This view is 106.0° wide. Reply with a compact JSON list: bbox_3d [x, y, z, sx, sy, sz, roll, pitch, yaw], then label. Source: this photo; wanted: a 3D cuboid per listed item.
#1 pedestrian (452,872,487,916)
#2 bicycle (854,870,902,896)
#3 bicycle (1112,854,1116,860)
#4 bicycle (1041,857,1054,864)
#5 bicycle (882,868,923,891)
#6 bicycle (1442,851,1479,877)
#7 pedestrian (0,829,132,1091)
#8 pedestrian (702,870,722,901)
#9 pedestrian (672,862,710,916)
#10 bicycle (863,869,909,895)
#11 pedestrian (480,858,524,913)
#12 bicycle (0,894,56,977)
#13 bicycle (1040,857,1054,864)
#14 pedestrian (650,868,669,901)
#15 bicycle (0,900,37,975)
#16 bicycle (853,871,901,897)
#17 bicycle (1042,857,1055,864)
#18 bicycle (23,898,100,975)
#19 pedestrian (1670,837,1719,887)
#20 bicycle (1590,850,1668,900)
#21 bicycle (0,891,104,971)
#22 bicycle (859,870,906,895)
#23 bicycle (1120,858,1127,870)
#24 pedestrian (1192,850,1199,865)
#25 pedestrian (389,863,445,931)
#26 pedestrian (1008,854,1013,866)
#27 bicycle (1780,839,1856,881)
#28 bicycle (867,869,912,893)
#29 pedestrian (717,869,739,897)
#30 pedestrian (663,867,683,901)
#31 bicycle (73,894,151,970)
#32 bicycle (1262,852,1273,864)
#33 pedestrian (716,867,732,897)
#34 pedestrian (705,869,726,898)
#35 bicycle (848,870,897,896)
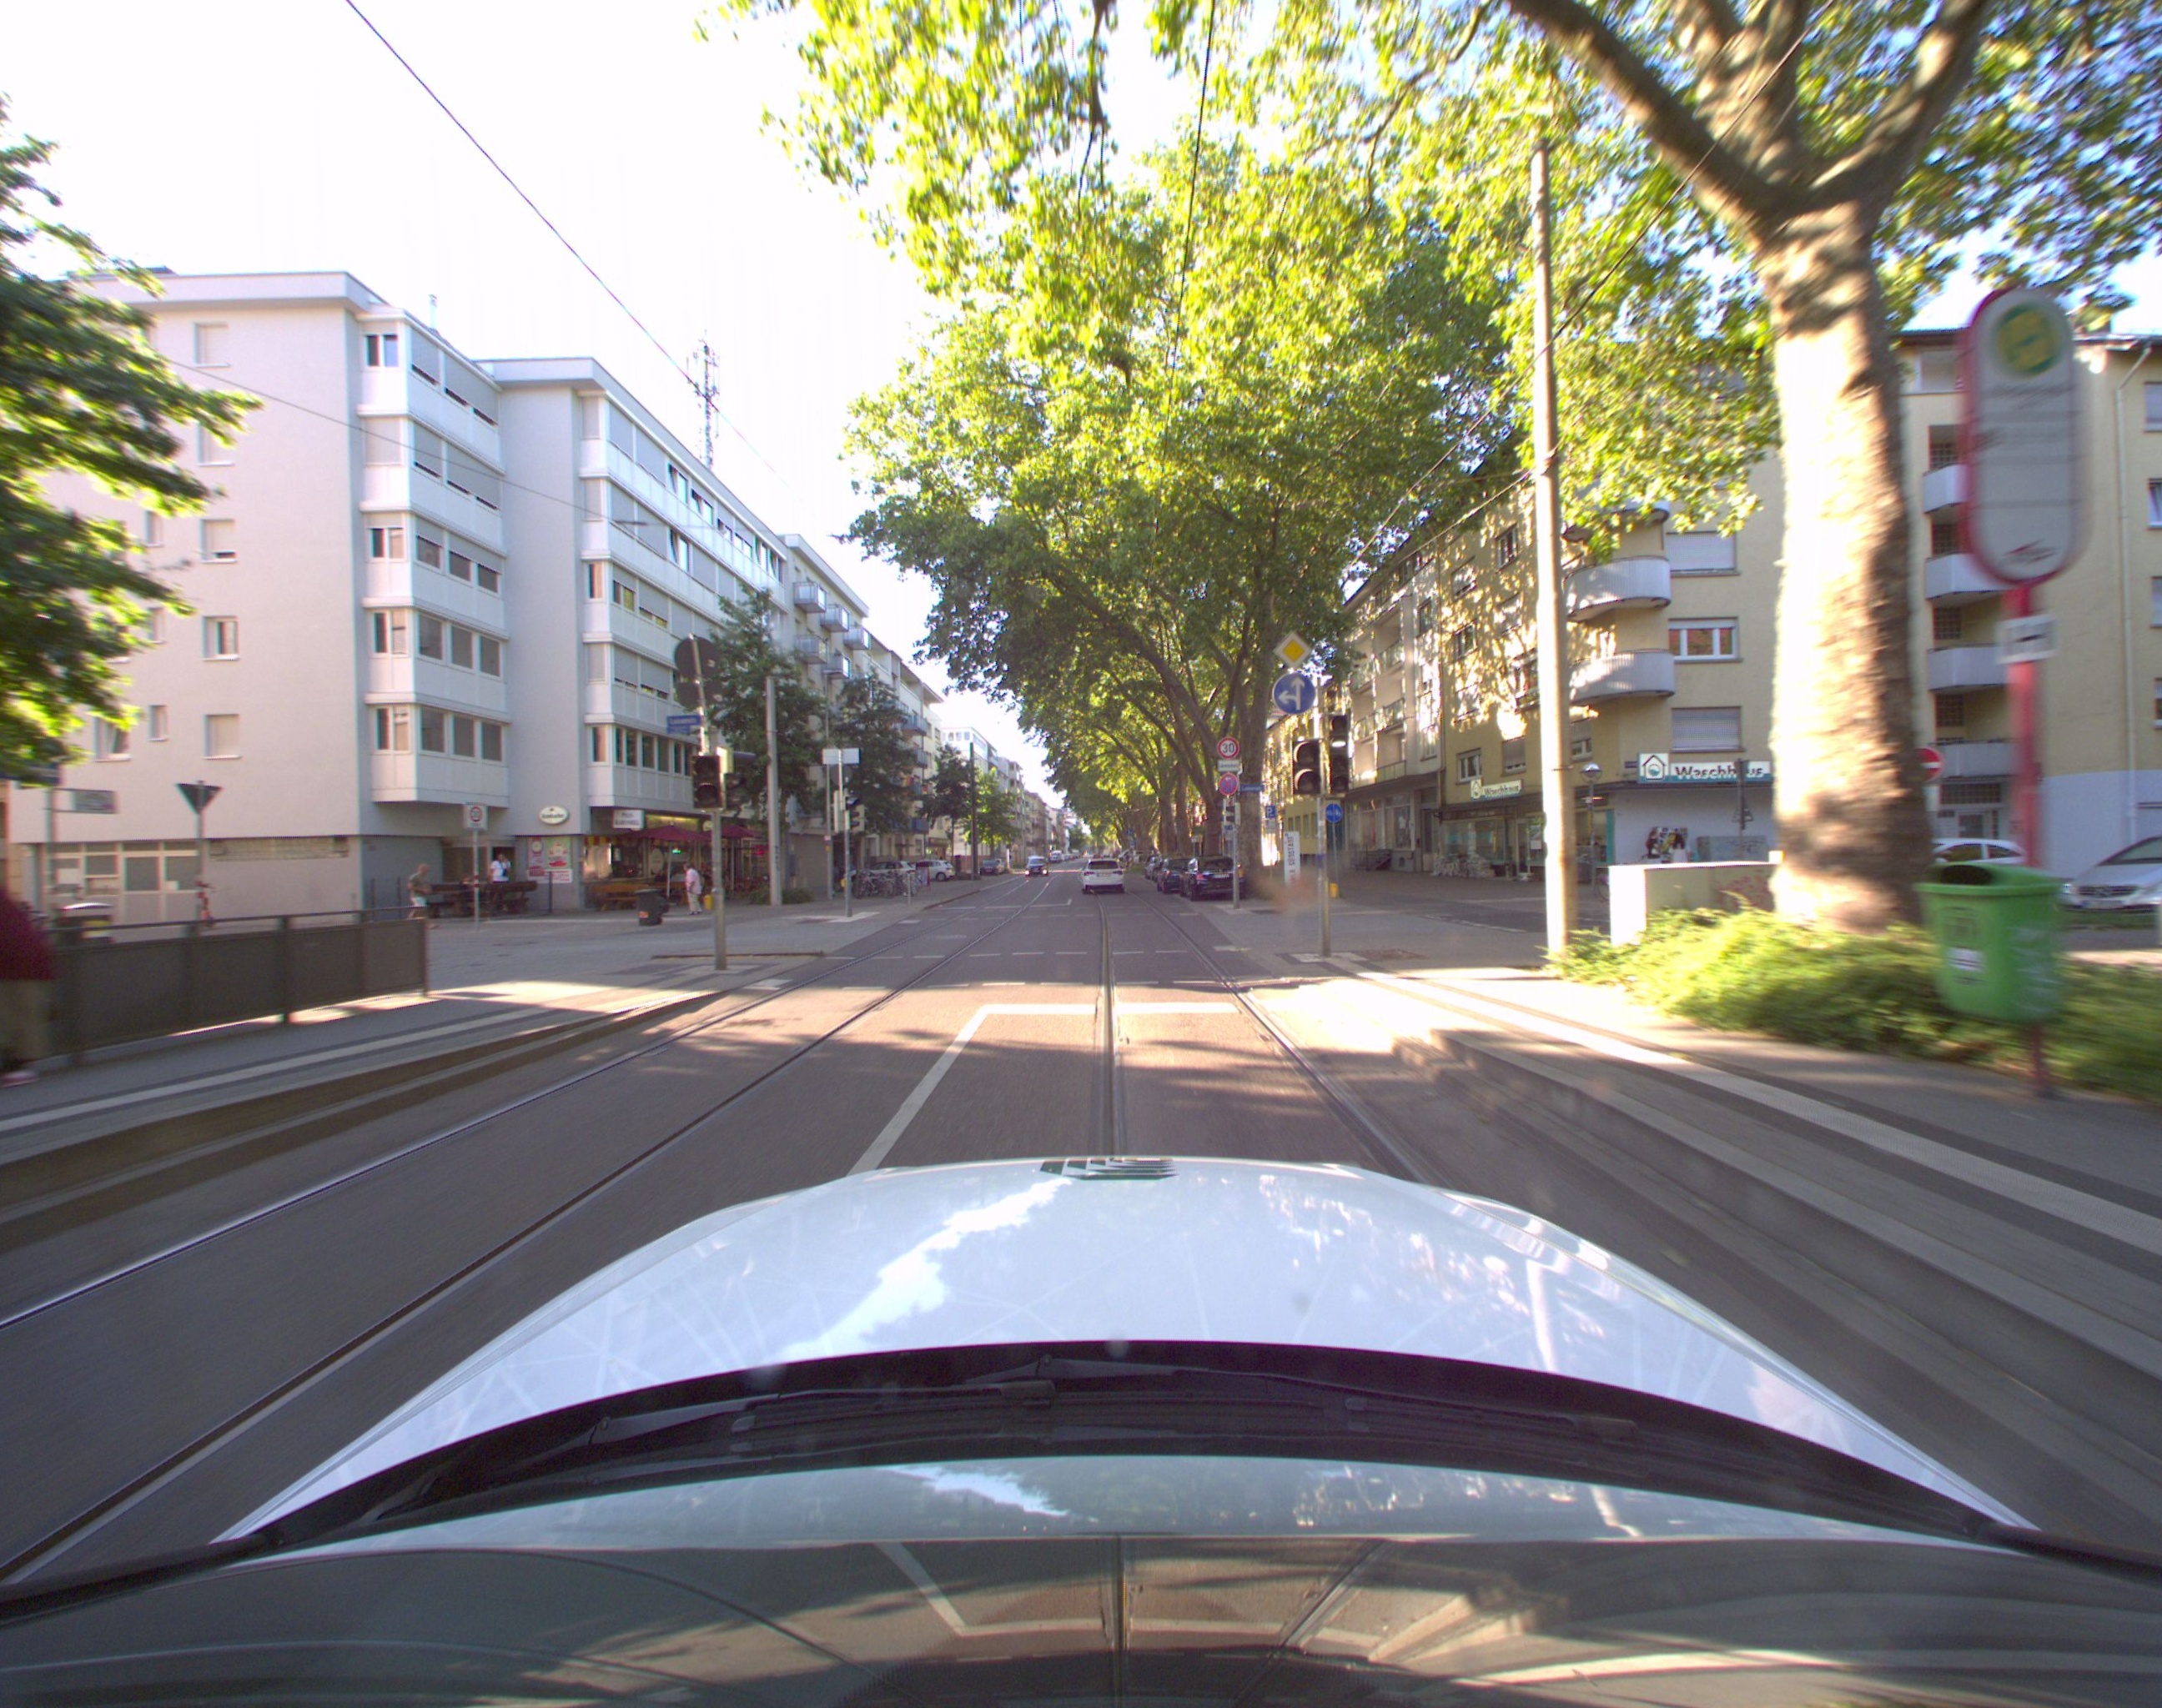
[{"bbox_3d":[-18.192,1.176,24.241,0.752,1.241,0.761,-2,0,-32],"label":"pedestrian"},{"bbox_3d":[-8.403,1.190,33.692,1.825,1.007,0.657,0,-1,-4],"label":"bicycle"},{"bbox_3d":[5.524,0.480,137.458,0.647,1.071,1.583,-2,0,0],"label":"bicycle"},{"bbox_3d":[-6.378,1.249,155.281,2.520,1.172,0.718,0,-2,-5],"label":"bicycle"},{"bbox_3d":[-8.069,1.165,36.820,1.687,1.007,0.657,0,-1,-4],"label":"bicycle"},{"bbox_3d":[15.695,0.412,33.721,0.569,0.997,1.778,-3,0,-3],"label":"bicycle"},{"bbox_3d":[-6.855,0.649,5.202,0.651,1.585,0.773,-2,0,2],"label":"pedestrian"},{"bbox_3d":[-14.848,1.267,32.767,0.604,1.198,0.685,-2,0,-34],"label":"pedestrian"},{"bbox_3d":[-11.541,1.024,24.125,0.723,1.556,0.768,-2,0,-4],"label":"pedestrian"},{"bbox_3d":[-8.280,1.184,34.636,1.825,1.064,0.657,0,-1,-4],"label":"bicycle"},{"bbox_3d":[-17.967,0.956,25.270,0.741,1.659,0.772,-2,0,16],"label":"pedestrian"},{"bbox_3d":[-16.333,1.212,11.650,2.038,1.156,0.568,-2,0,-21],"label":"bicycle"},{"bbox_3d":[-6.465,1.245,154.400,2.545,1.172,0.873,2,-2,-38],"label":"bicycle"},{"bbox_3d":[-15.563,1.114,30.058,0.566,1.198,0.508,-2,0,-34],"label":"pedestrian"},{"bbox_3d":[-17.999,1.361,13.207,1.772,1.156,0.574,-2,0,12],"label":"bicycle"},{"bbox_3d":[-7.945,1.167,31.765,1.687,1.007,0.657,0,-1,-4],"label":"bicycle"},{"bbox_3d":[-6.308,1.256,159.060,2.520,1.172,0.718,0,-2,-5],"label":"bicycle"},{"bbox_3d":[-16.822,1.327,13.430,1.766,1.156,0.576,-2,0,32],"label":"bicycle"},{"bbox_3d":[18.124,0.230,24.081,0.838,1.415,0.767,-2,0,-7],"label":"pedestrian"},{"bbox_3d":[14.240,0.543,21.154,1.798,1.156,0.740,-3,0,-21],"label":"bicycle"},{"bbox_3d":[-16.253,1.185,12.545,1.849,1.156,0.573,-2,0,5],"label":"bicycle"},{"bbox_3d":[-8.353,1.195,34.338,1.825,1.007,0.657,0,-1,-4],"label":"bicycle"},{"bbox_3d":[4.017,0.901,76.937,0.679,1.071,1.782,-2,0,2],"label":"bicycle"},{"bbox_3d":[15.054,0.446,107.066,0.764,1.866,1.187,-2,0,-2],"label":"pedestrian"},{"bbox_3d":[-16.824,1.078,20.659,0.756,1.671,0.768,-2,0,-4],"label":"pedestrian"},{"bbox_3d":[-10.895,0.857,125.543,0.661,1.826,0.965,-1,0,0],"label":"pedestrian"},{"bbox_3d":[22.190,0.184,24.543,1.686,1.156,0.602,-3,0,1],"label":"bicycle"},{"bbox_3d":[-8.327,1.155,35.471,1.825,1.007,0.657,0,-1,-4],"label":"bicycle"},{"bbox_3d":[-15.727,1.277,36.295,0.670,1.198,0.655,-2,0,0],"label":"pedestrian"},{"bbox_3d":[-14.870,1.075,29.698,0.512,1.198,0.561,-2,0,-15],"label":"pedestrian"},{"bbox_3d":[-16.006,1.254,13.439,1.766,1.156,0.576,-2,0,32],"label":"bicycle"},{"bbox_3d":[17.830,0.415,77.848,0.580,1.104,1.923,-3,0,1],"label":"bicycle"},{"bbox_3d":[-14.741,1.156,33.633,0.514,1.198,0.558,-2,0,-28],"label":"pedestrian"},{"bbox_3d":[-15.718,1.262,35.007,0.560,1.198,0.624,-2,0,0],"label":"pedestrian"},{"bbox_3d":[-8.506,1.187,33.253,1.825,1.007,0.657,0,-1,-4],"label":"bicycle"}]
